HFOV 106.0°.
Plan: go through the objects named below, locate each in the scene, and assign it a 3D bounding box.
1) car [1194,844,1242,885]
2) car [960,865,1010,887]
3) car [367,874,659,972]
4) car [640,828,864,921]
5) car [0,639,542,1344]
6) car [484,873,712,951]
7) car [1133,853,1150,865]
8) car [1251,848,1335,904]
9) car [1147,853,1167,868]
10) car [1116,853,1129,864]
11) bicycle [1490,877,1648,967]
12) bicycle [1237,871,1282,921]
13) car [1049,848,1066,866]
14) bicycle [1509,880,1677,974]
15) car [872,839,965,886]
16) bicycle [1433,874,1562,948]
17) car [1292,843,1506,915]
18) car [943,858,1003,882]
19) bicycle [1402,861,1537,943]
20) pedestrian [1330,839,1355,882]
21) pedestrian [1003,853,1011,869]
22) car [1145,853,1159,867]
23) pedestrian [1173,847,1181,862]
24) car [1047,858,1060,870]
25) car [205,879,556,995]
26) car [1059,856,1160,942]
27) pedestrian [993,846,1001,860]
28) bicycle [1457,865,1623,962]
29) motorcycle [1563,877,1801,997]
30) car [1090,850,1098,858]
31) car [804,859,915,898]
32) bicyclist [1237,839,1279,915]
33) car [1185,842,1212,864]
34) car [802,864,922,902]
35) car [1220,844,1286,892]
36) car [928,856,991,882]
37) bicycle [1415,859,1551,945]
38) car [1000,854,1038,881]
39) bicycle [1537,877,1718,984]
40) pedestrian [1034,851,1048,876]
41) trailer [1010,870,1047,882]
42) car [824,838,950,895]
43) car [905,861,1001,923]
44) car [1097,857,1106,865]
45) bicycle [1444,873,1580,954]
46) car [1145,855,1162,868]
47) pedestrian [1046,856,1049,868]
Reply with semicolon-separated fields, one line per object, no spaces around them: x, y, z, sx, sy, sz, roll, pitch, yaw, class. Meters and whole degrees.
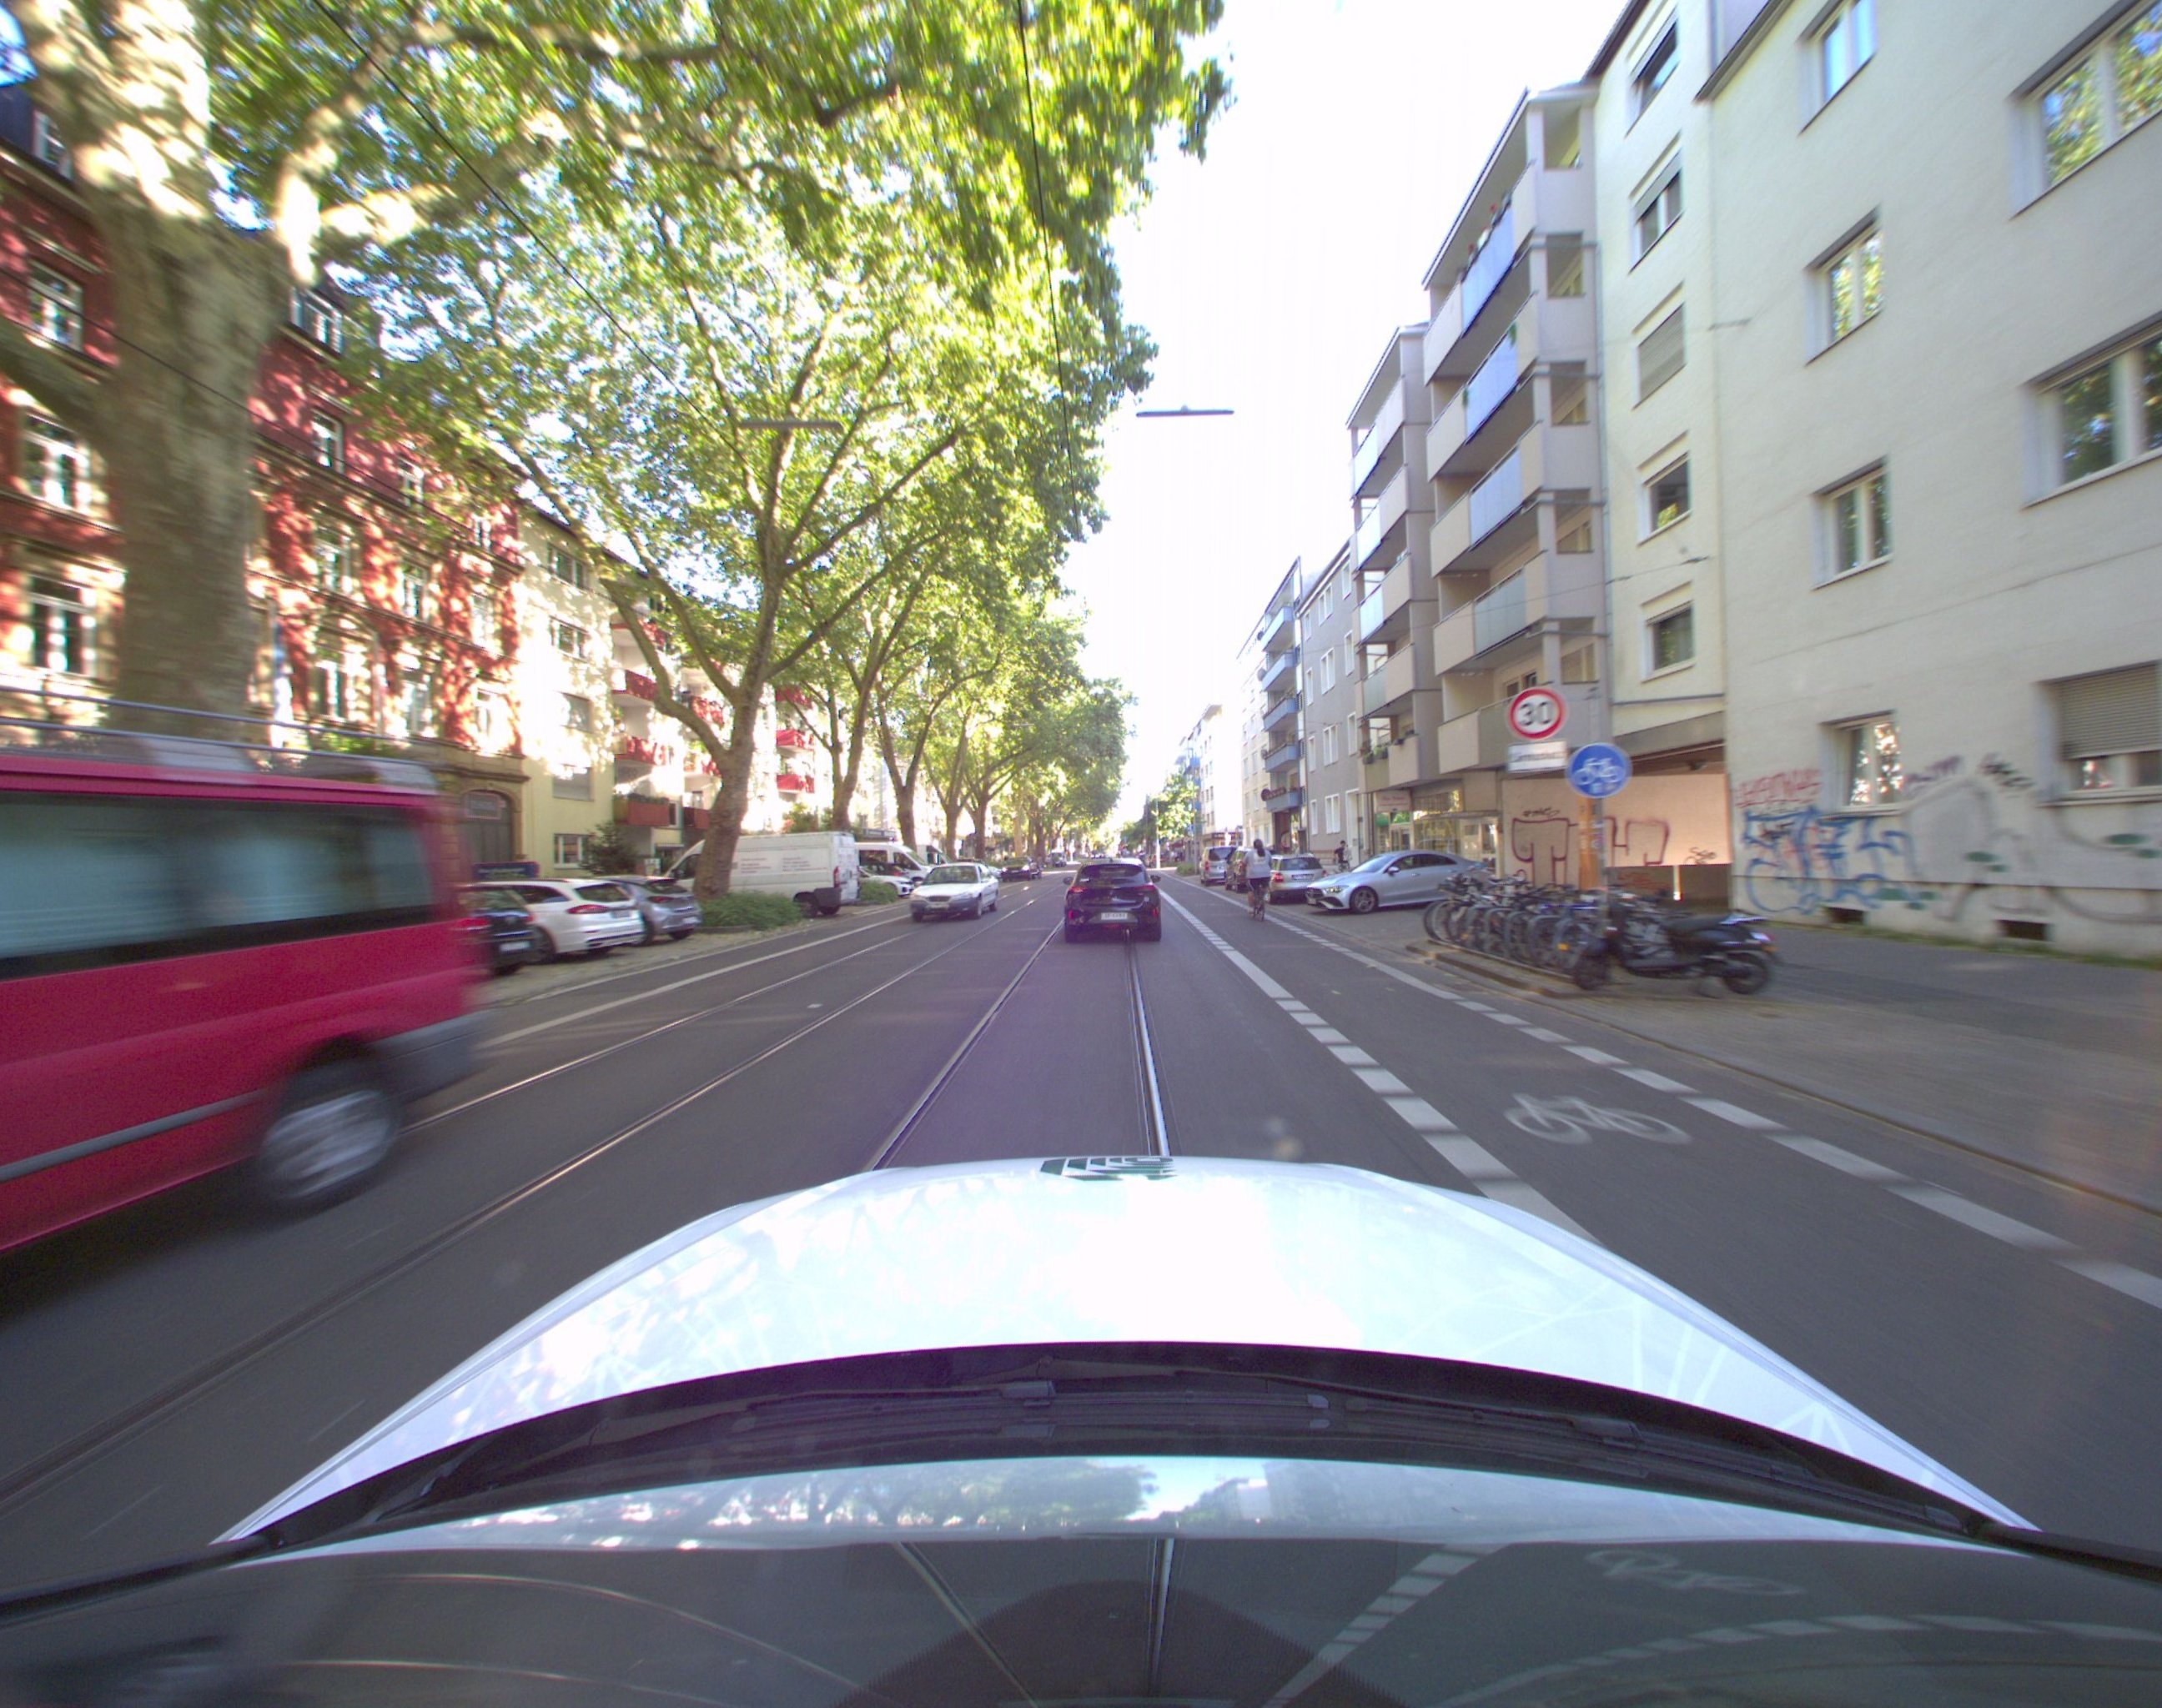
6.784;0.488;40.750;1.850;1.890;4.930;-2;0;4;car
-7.075;1.616;60.361;3.420;1.530;1.786;-2;0;-1;car
-10.094;1.197;14.689;3.971;1.496;1.831;-2;0;2;car
-9.648;0.588;24.218;5.718;2.536;2.164;-1;0;2;car
-4.387;0.481;2.541;1.911;2.227;4.960;-4;0;1;car
-10.119;1.188;17.219;3.791;1.432;1.706;-2;0;4;car
8.520;0.711;114.619;1.988;1.640;3.997;-2;0;-2;car
6.462;0.625;25.289;1.717;1.525;4.517;-2;0;4;car
8.361;0.741;90.264;1.713;1.574;4.082;-2;0;-2;car
6.565;0.729;127.762;1.850;1.651;4.004;-2;0;4;car
6.124;0.847;10.262;1.646;0.987;0.457;-4;0;2;bicycle
4.185;0.961;19.264;0.698;1.092;1.991;0;-1;2;bicycle
-3.580;0.495;123.002;2.084;2.584;6.000;-2;0;2;car
6.107;0.860;9.751;1.646;0.987;0.457;-4;0;2;bicycle
-9.401;0.487;47.551;4.929;2.567;2.081;-2;0;-1;car
6.225;0.849;12.211;1.646;0.966;0.457;-4;0;2;bicycle
7.827;0.585;20.246;4.612;1.437;1.859;-3;0;-9;car
-7.756;1.133;58.732;3.973;1.522;1.771;-2;0;1;car
6.280;0.768;13.206;1.885;1.191;0.457;-4;0;2;bicycle
10.685;0.265;33.265;0.753;1.720;0.720;-2;0;1;pedestrian
-9.037;0.876;99.346;0.903;1.869;0.643;-2;0;-4;pedestrian
8.675;0.721;99.845;1.644;1.574;3.087;-2;0;4;car
11.913;0.069;101.123;0.761;1.748;0.800;-2;0;22;pedestrian
-3.953;1.417;116.867;1.749;1.508;3.998;-2;0;-1;car
-10.295;1.182;12.156;3.777;1.460;1.706;-2;0;3;car
0.544;0.755;15.406;1.673;1.422;3.629;0;0;2;car
-10.057;-0.070;97.765;0.844;1.632;0.643;-2;0;-4;pedestrian
6.191;0.790;11.058;1.787;1.148;0.705;-4;0;2;bicycle
5.964;0.820;8.210;1.801;1.080;0.621;-3;-1;25;motorcycle
3.762;-0.037;233.351;1.988;2.211;5.099;-2;0;-2;car
-9.820;1.075;36.366;4.354;1.539;1.873;-2;0;2;car
4.183;0.535;19.333;0.783;1.759;0.915;-2;-1;2;bicyclist
9.398;-0.089;65.254;1.850;1.651;4.004;-2;0;4;car
-9.086;1.195;34.007;4.393;1.384;1.934;-2;0;2;car
6.650;0.517;31.916;1.760;1.705;4.284;-2;0;2;car
-8.308;1.041;56.061;3.973;1.647;1.894;-2;0;1;car
6.255;0.741;12.709;1.816;1.191;0.457;-4;0;2;bicycle
-4.259;0.899;56.254;1.986;1.700;4.487;-3;0;2;car
6.099;0.847;9.132;1.646;1.055;0.457;-4;0;2;bicycle
-2.819;0.662;57.137;0.712;1.735;0.909;-3;0;-12;pedestrian
-3.913;1.628;61.683;2.152;0.632;6.404;-2;0;2;trailer
-9.160;0.581;38.726;5.339;2.477;2.058;-2;0;2;car
-3.232;0.916;21.339;1.712;1.359;4.470;-2;0;1;car
4.930;1.690;193.954;1.742;1.651;4.004;-2;0;4;car
6.184;0.847;11.723;1.646;1.020;0.457;-4;0;2;bicycle
8.496;0.842;95.722;1.712;1.490;3.682;-2;0;1;car
-4.350;1.096;106.643;0.345;1.583;0.508;-2;0;1;pedestrian
